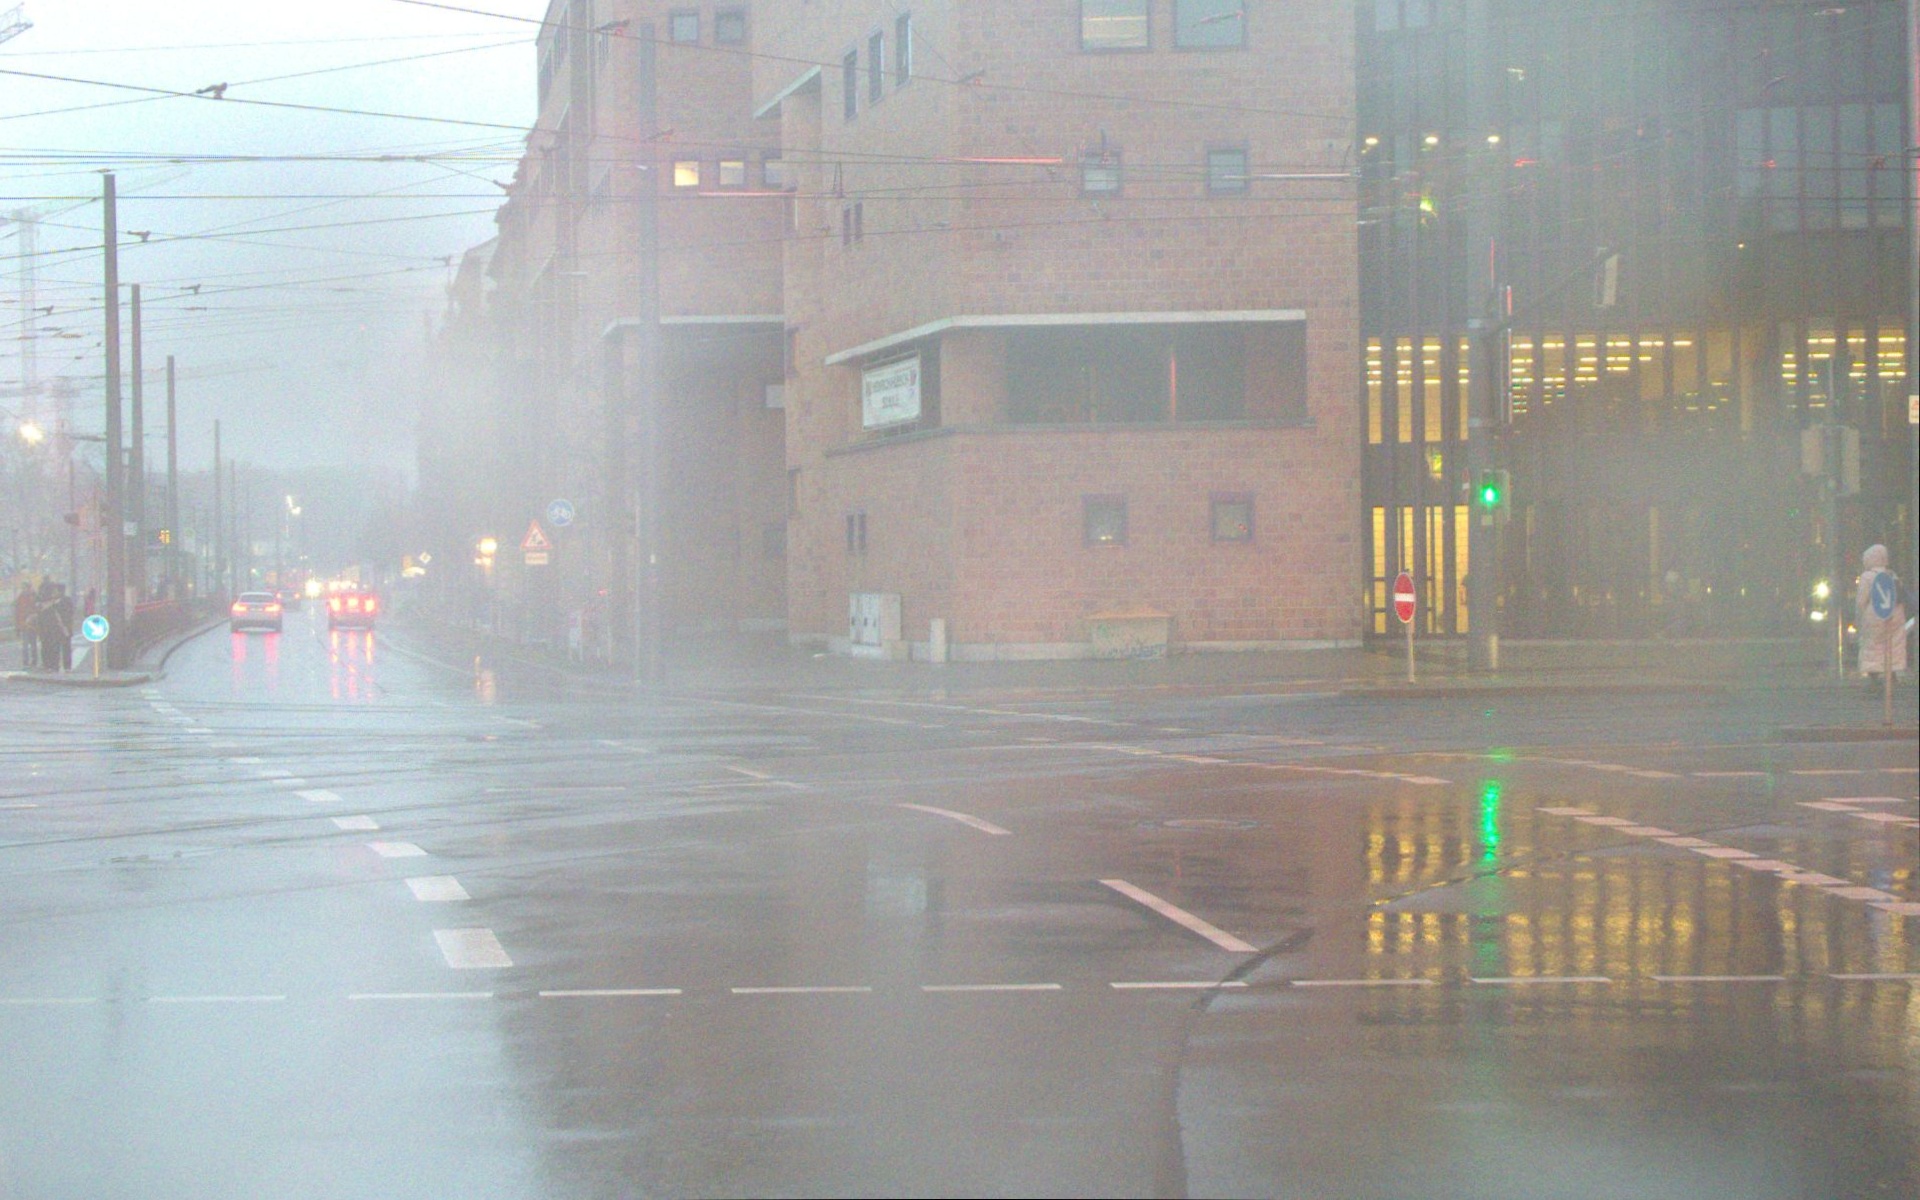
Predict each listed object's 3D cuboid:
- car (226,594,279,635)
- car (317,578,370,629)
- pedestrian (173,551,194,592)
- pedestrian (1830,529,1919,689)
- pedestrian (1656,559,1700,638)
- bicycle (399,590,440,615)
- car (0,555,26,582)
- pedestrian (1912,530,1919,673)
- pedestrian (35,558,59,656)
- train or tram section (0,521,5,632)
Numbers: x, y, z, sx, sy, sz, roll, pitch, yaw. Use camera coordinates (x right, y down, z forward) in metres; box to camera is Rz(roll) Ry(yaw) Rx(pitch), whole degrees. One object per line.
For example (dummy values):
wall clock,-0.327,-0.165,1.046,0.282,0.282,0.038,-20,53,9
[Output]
car,-26.300,0.547,127.881,1.783,1.462,3.149,-1,1,-9
car,-25.106,0.121,140.070,1.993,2.007,4.001,-1,1,-9
pedestrian,-28.534,-1.059,126.322,0.679,1.511,0.619,0,0,-23
pedestrian,10.374,0.095,38.933,0.733,1.781,0.735,-1,0,-14
pedestrian,12.797,-0.032,61.273,0.737,1.384,0.737,-1,0,11
bicycle,-23.755,0.099,151.212,1.729,1.051,0.371,-2,1,-12
car,-48.532,-1.603,174.903,1.681,1.349,3.547,0,0,-12
pedestrian,12.560,0.008,42.723,1.148,1.781,0.778,-1,0,-9
pedestrian,-17.329,0.130,65.239,0.412,1.839,0.670,0,0,-16
train or tram section,-31.405,-0.753,105.582,2.924,3.566,11.038,1,0,-10
